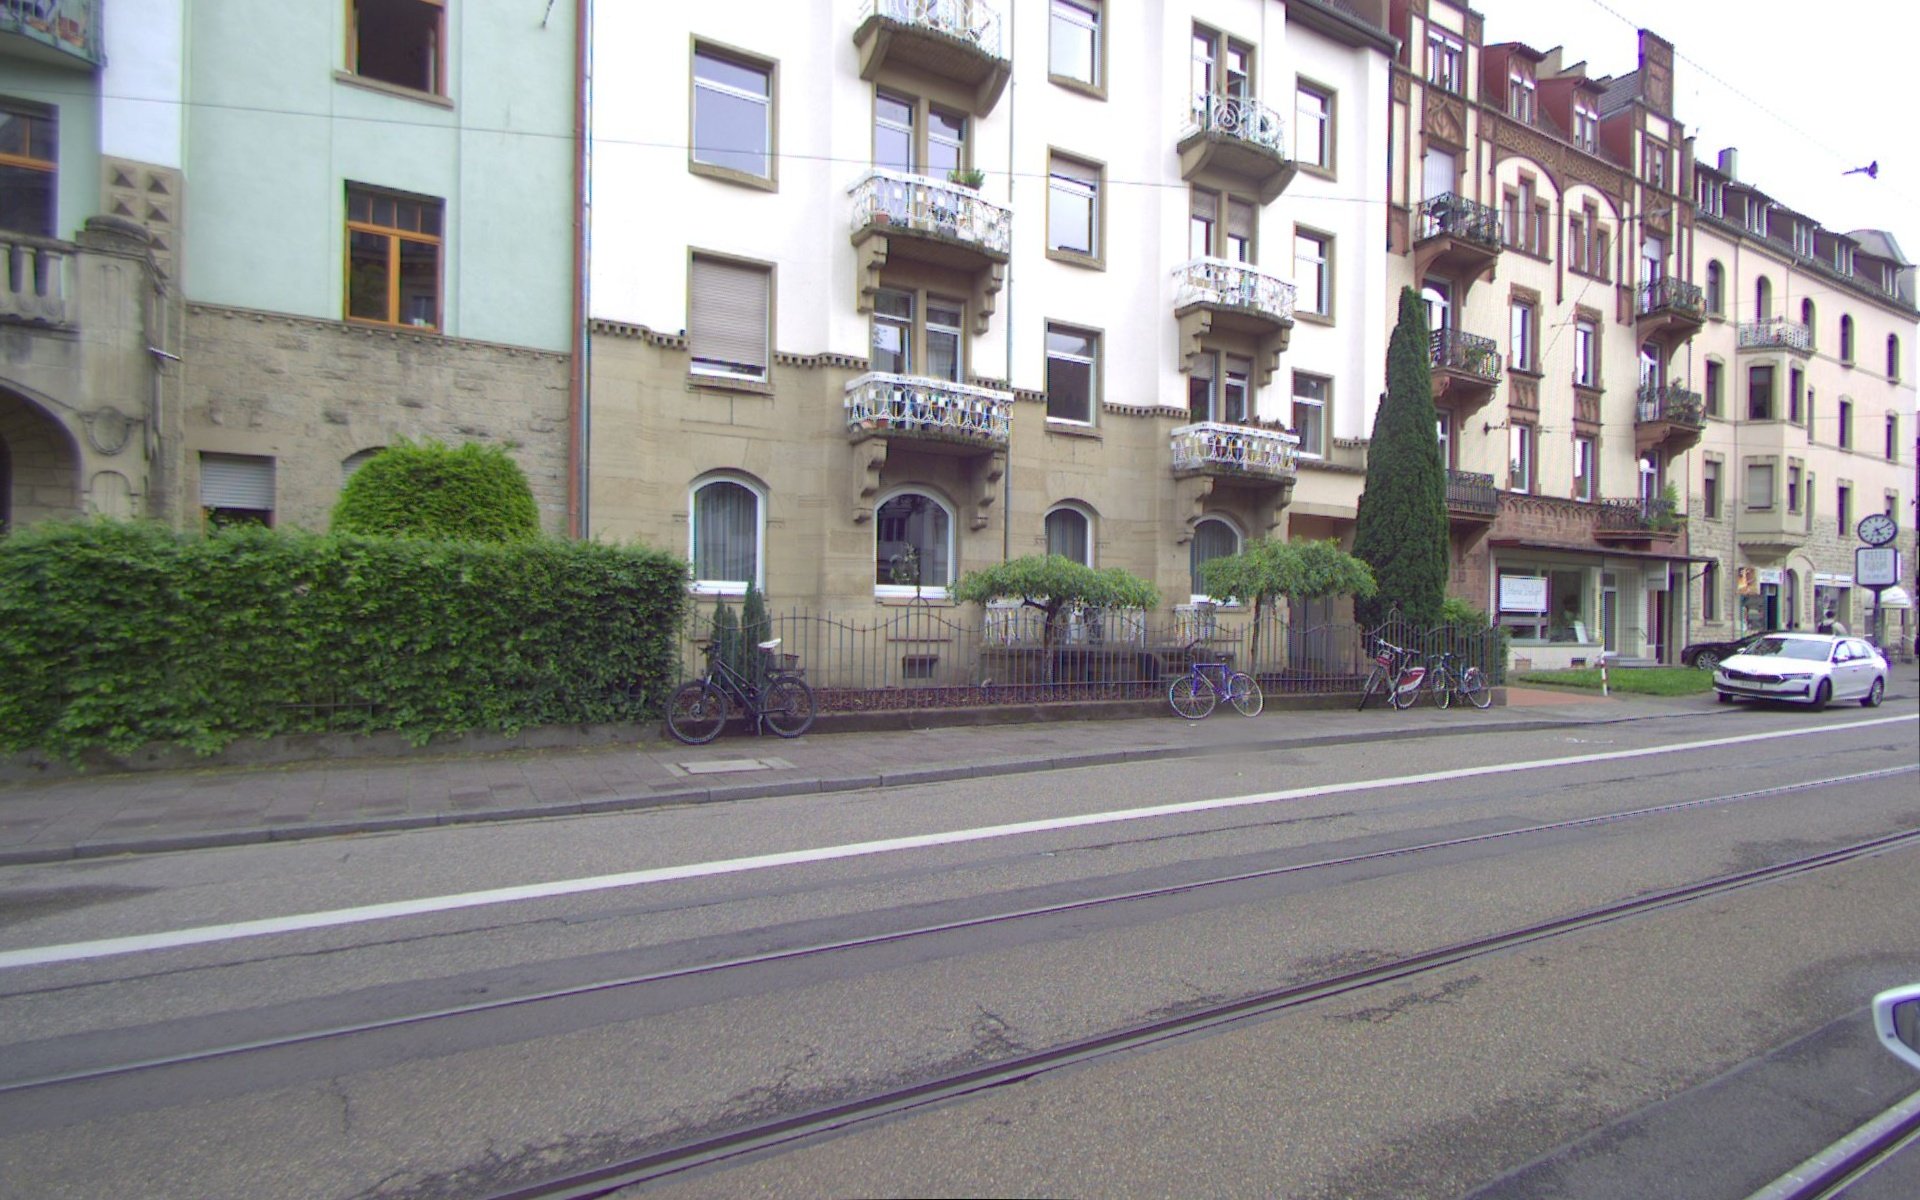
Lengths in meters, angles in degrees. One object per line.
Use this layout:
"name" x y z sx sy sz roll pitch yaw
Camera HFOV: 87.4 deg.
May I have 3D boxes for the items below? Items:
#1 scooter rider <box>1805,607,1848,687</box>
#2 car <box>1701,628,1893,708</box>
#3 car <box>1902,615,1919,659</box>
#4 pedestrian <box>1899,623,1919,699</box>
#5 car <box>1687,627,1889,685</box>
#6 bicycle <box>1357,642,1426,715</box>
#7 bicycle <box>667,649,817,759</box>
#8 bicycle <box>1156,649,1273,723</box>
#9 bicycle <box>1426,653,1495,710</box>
"scooter rider" 22.439 1.209 26.012 0.749 2.040 0.639 1 -1 -30
"car" 17.598 1.364 21.063 4.557 1.504 1.738 1 -1 -31
"car" 53.296 2.005 53.692 2.142 2.449 5.382 0 -1 18
"pedestrian" 23.800 1.495 24.792 0.657 1.868 0.881 0 -1 25
"car" 25.160 1.647 30.675 1.861 1.389 4.397 1 1 -34
"bicycle" 7.012 1.247 16.279 1.613 1.116 0.381 2 -1 -42
"bicycle" -2.317 1.083 10.743 1.528 1.098 0.358 1 -1 -31
"bicycle" 3.672 1.224 14.479 1.640 0.938 0.358 0 -19 -28
"bicycle" 8.773 1.415 17.587 1.498 0.950 0.330 1 -1 -31
